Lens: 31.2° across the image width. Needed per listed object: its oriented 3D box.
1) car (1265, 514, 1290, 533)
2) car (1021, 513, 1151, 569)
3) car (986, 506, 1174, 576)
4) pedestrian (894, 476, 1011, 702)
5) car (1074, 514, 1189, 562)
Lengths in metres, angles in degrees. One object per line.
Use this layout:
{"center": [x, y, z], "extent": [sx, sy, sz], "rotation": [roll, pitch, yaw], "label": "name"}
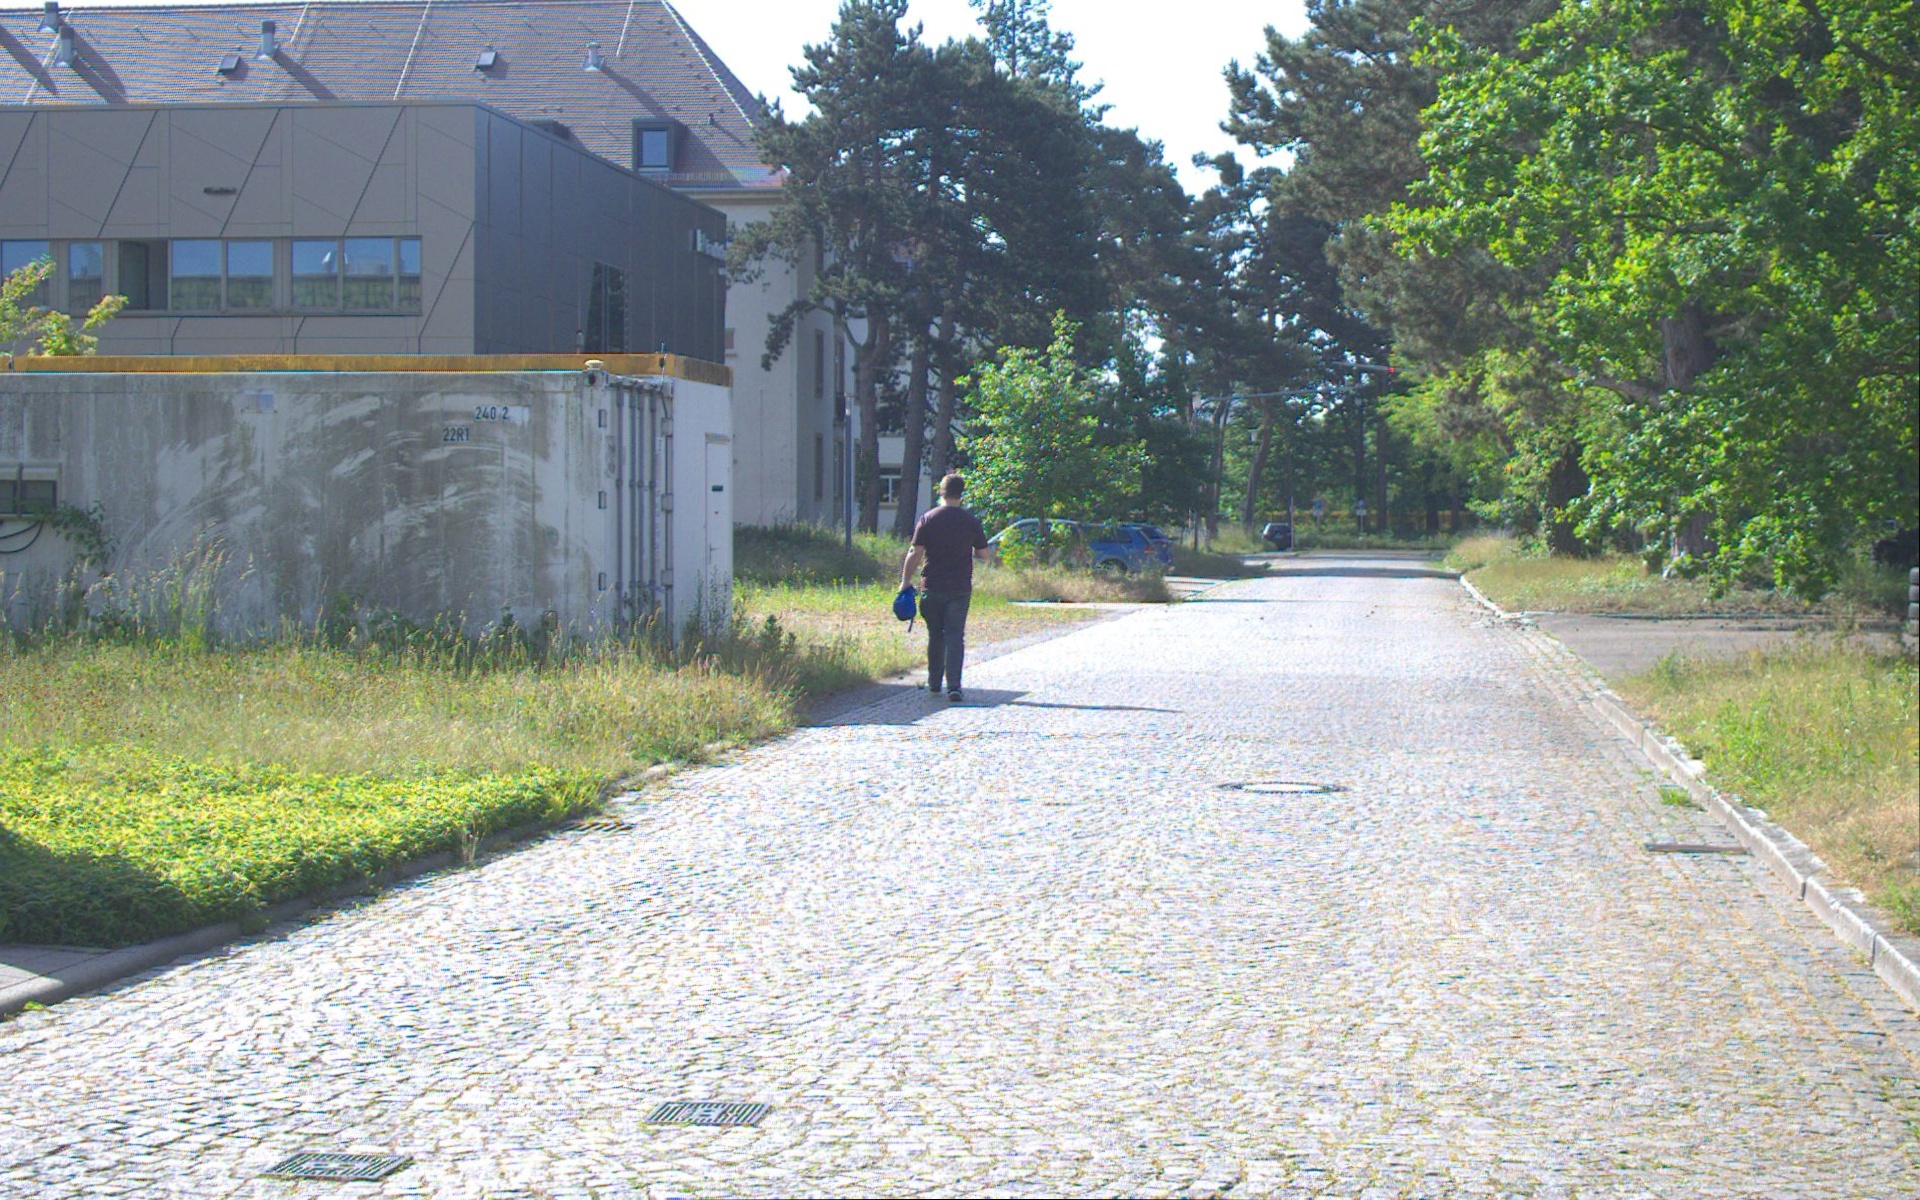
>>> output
{"center": [17.857, -4.298, 193.253], "extent": [1.370, 1.095, 2.863], "rotation": [0, 1, 5], "label": "car"}
{"center": [2.876, -1.365, 78.903], "extent": [2.902, 1.255, 1.288], "rotation": [0, 1, -1], "label": "car"}
{"center": [2.516, -1.238, 71.709], "extent": [3.834, 1.436, 1.583], "rotation": [0, 1, 5], "label": "car"}
{"center": [-0.051, -0.101, 27.832], "extent": [0.795, 1.774, 1.068], "rotation": [2, 1, 6], "label": "pedestrian"}
{"center": [4.382, -1.600, 88.251], "extent": [2.853, 1.202, 1.374], "rotation": [0, 1, -1], "label": "car"}
